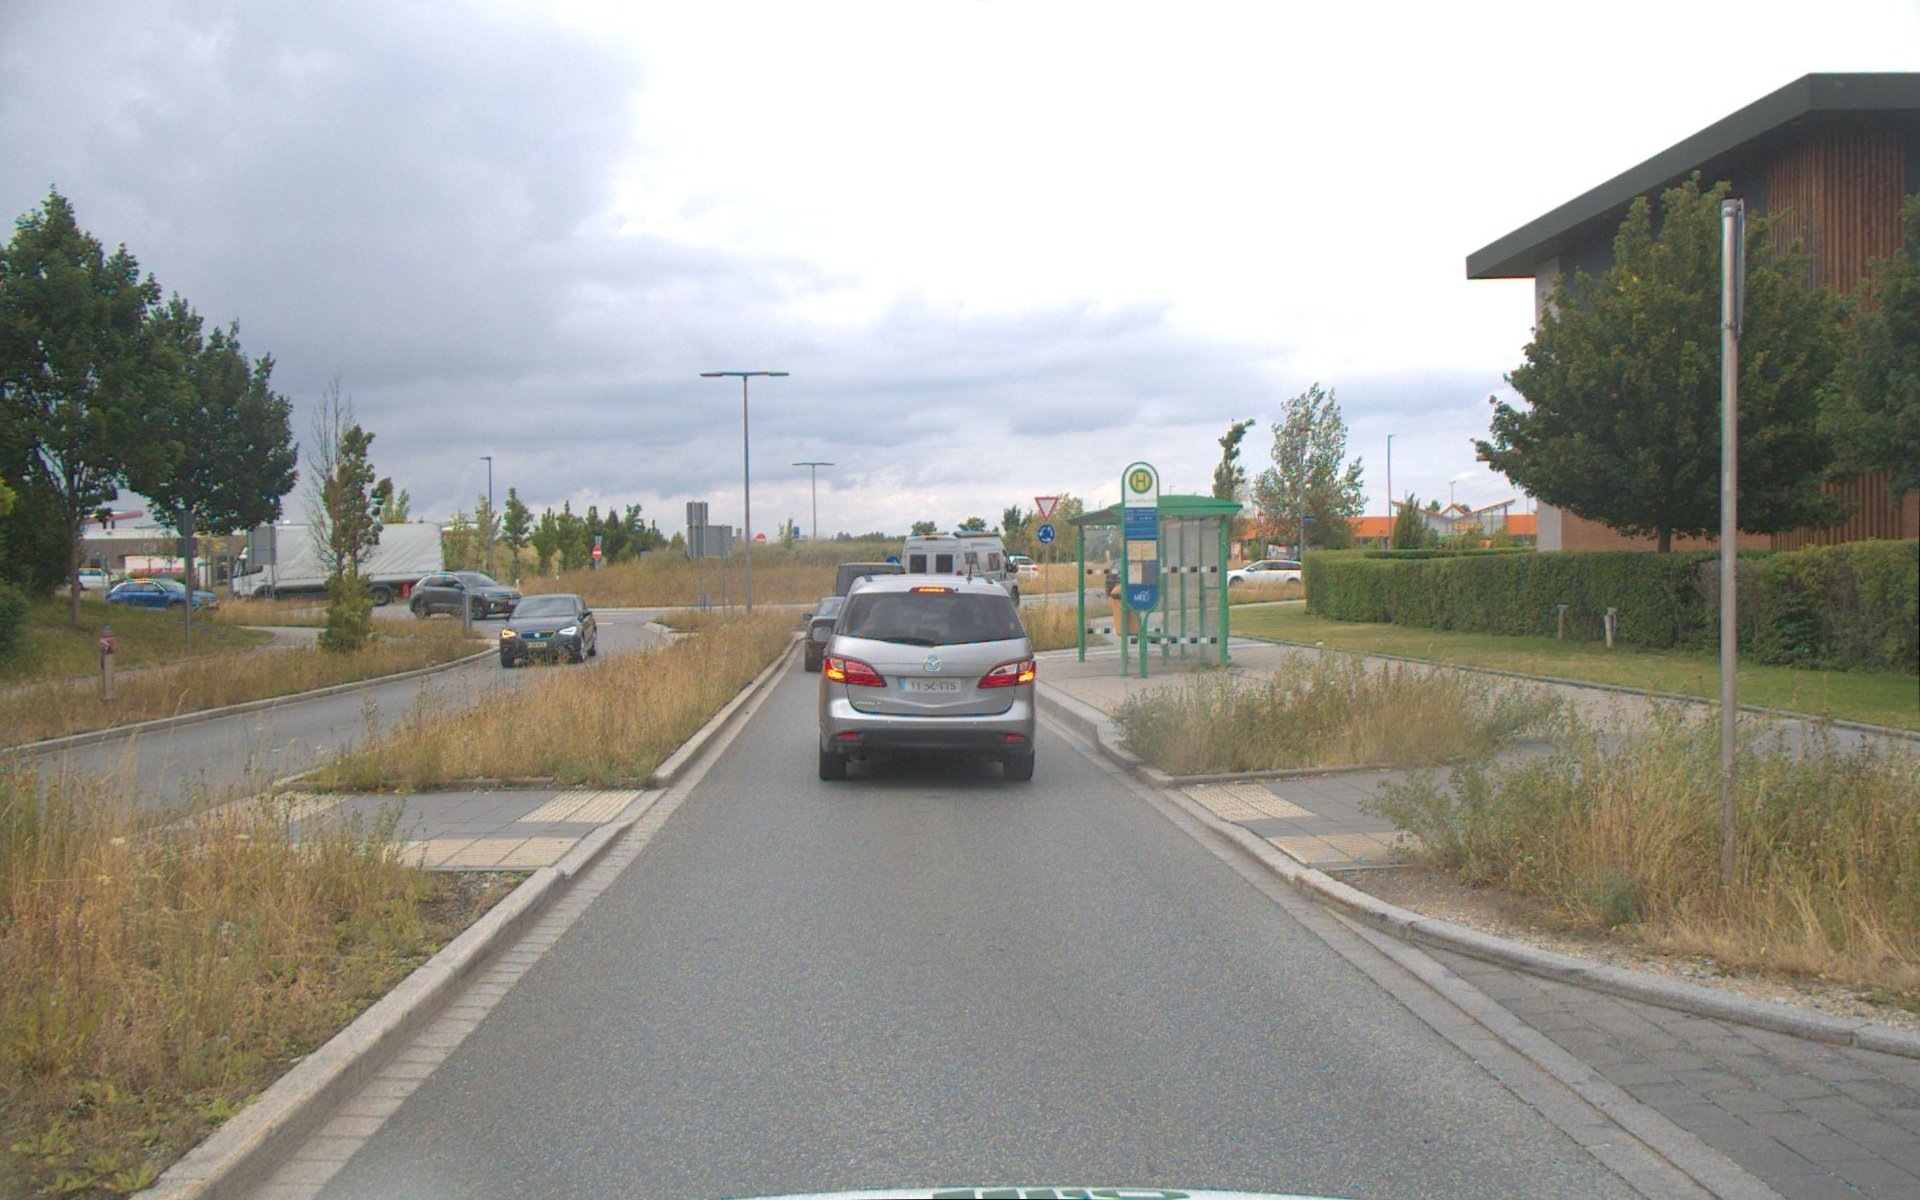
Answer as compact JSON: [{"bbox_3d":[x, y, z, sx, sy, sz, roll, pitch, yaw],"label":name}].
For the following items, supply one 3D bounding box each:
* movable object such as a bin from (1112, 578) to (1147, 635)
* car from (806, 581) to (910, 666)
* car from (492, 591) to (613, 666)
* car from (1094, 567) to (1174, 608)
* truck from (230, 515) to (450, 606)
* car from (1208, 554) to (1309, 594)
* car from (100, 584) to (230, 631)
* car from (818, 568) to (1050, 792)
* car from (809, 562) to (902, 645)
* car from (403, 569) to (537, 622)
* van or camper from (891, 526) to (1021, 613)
[{"bbox_3d":[2.459,0.091,24.054,0.447,0.812,0.379,-1,0,-4],"label":"movable object such as a bin"},{"bbox_3d":[-1.863,0.390,31.253,1.807,1.443,4.223,-1,1,-2],"label":"car"},{"bbox_3d":[-8.808,0.572,36.038,1.805,1.431,3.997,-3,1,-3],"label":"car"},{"bbox_3d":[6.844,-0.504,64.813,1.953,1.542,3.998,-1,1,24],"label":"car"},{"bbox_3d":[-28.368,-1.828,75.777,9.187,3.975,3.119,-1,1,-25],"label":"truck"},{"bbox_3d":[13.898,-1.190,77.156,4.504,1.788,2.002,0,1,7],"label":"car"},{"bbox_3d":[-29.821,0.276,62.063,4.124,1.555,1.849,-3,0,14],"label":"car"},{"bbox_3d":[-0.338,0.548,14.001,1.696,1.628,3.804,0,1,-5],"label":"car"},{"bbox_3d":[-2.428,0.055,39.578,2.016,1.857,4.785,-1,1,-1],"label":"car"},{"bbox_3d":[-16.486,-0.150,55.616,4.114,1.620,2.060,-1,2,32],"label":"car"},{"bbox_3d":[-0.038,-0.950,51.355,2.256,2.549,5.205,0,1,22],"label":"van or camper"}]
